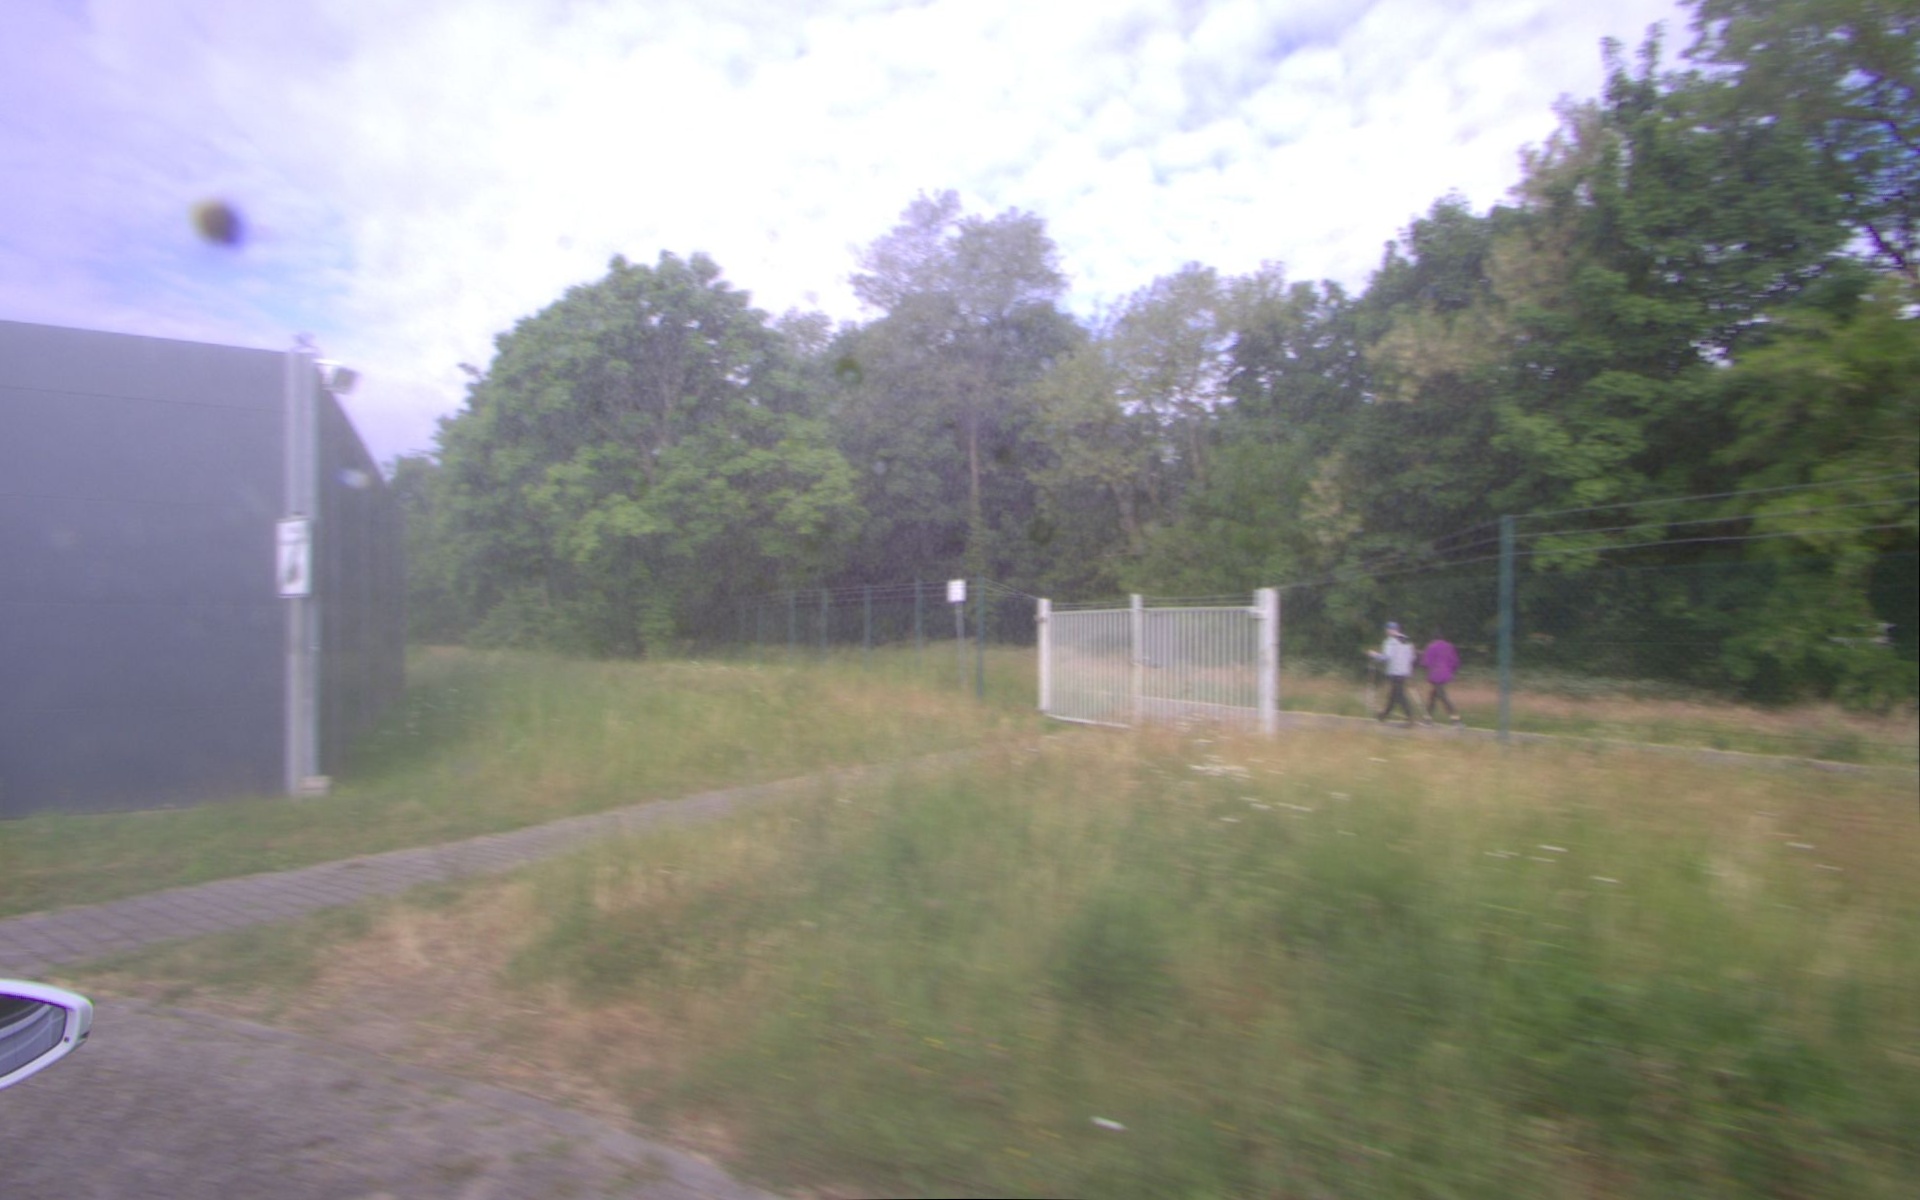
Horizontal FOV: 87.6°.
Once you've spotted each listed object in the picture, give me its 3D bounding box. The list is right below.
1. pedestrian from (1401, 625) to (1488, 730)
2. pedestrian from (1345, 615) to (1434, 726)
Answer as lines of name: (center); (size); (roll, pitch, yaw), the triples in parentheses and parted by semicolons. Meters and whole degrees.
pedestrian: (7.703, 1.203, 15.956); (0.725, 1.594, 1.031); (0, -1, -24)
pedestrian: (6.893, 1.100, 16.097); (0.830, 1.704, 1.034); (0, -1, -21)
